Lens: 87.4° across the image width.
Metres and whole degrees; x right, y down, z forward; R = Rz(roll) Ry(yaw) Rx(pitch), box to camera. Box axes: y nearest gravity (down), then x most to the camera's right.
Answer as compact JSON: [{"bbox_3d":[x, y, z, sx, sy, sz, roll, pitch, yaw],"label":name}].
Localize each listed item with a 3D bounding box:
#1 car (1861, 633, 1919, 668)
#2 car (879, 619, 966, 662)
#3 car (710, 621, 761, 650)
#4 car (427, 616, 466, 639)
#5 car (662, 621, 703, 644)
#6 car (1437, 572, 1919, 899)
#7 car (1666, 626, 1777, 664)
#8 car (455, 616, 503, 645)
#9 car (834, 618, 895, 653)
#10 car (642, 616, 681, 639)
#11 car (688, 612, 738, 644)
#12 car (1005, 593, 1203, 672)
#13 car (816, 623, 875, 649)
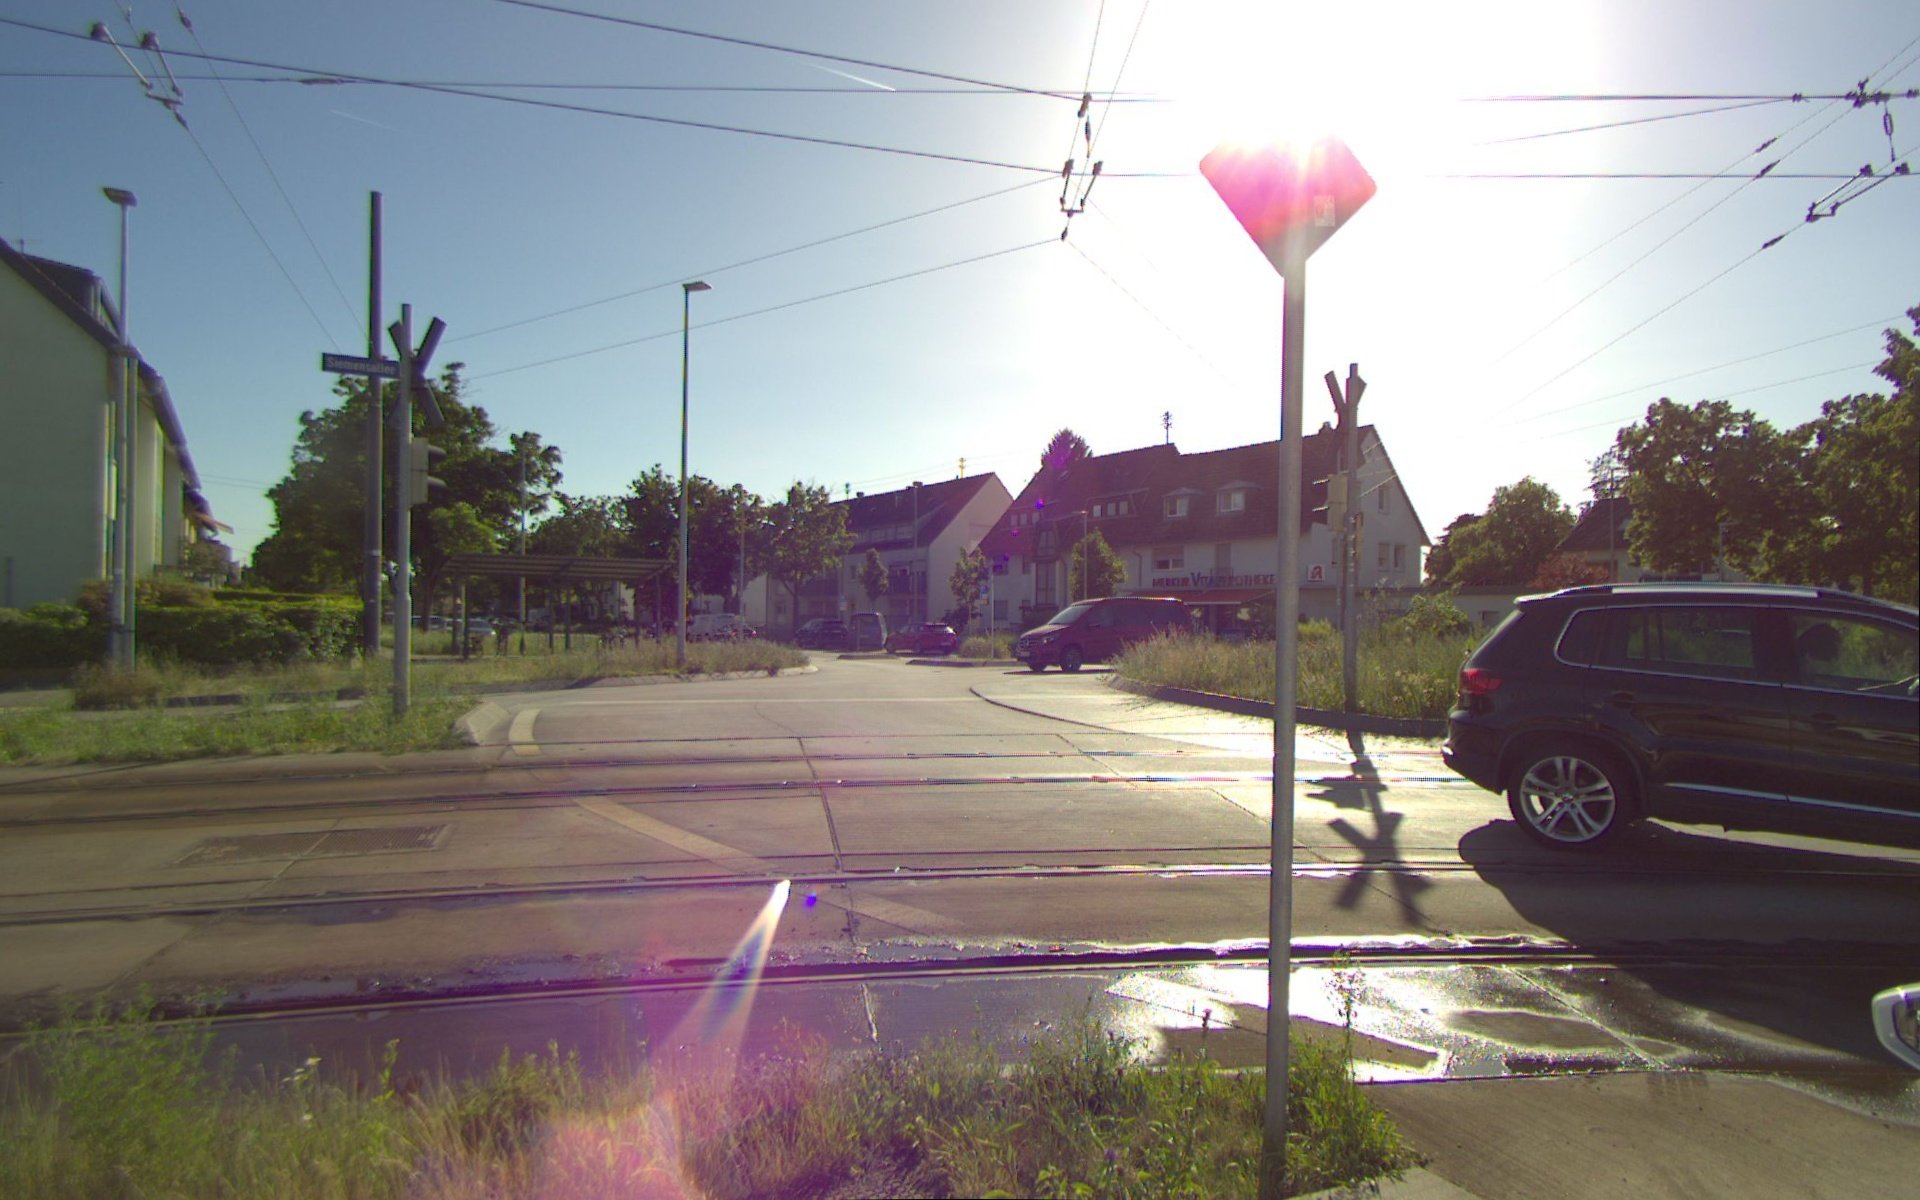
[{"bbox_3d":[44.386,2.370,47.582,3.765,1.484,1.787,2,0,-36],"label":"car"},{"bbox_3d":[-1.806,1.855,46.793,1.981,1.721,4.326,1,0,-36],"label":"car"},{"bbox_3d":[-14.402,2.265,64.427,1.903,1.637,4.247,1,0,-31],"label":"car"},{"bbox_3d":[-33.853,1.812,66.146,1.809,1.411,3.831,1,-2,-35],"label":"car"},{"bbox_3d":[-20.499,2.393,74.154,1.531,1.613,4.035,1,-1,-36],"label":"car"},{"bbox_3d":[5.362,0.691,6.050,4.195,1.693,1.808,0,1,41],"label":"car"},{"bbox_3d":[38.578,2.237,50.959,1.974,1.717,4.023,2,0,-26],"label":"car"},{"bbox_3d":[-26.585,1.644,55.482,1.809,1.411,3.753,1,0,-35],"label":"car"},{"bbox_3d":[-4.845,1.809,51.051,3.020,1.641,1.409,2,0,-6],"label":"car"},{"bbox_3d":[-23.170,2.093,77.844,1.537,1.698,4.177,1,-1,-36],"label":"car"},{"bbox_3d":[-17.242,1.929,70.066,1.879,2.041,4.326,1,0,-36],"label":"car"},{"bbox_3d":[3.955,0.832,27.462,5.170,2.008,1.987,0,-1,-27],"label":"car"},{"bbox_3d":[-6.284,1.978,55.216,3.107,1.315,1.380,2,0,-11],"label":"car"}]
